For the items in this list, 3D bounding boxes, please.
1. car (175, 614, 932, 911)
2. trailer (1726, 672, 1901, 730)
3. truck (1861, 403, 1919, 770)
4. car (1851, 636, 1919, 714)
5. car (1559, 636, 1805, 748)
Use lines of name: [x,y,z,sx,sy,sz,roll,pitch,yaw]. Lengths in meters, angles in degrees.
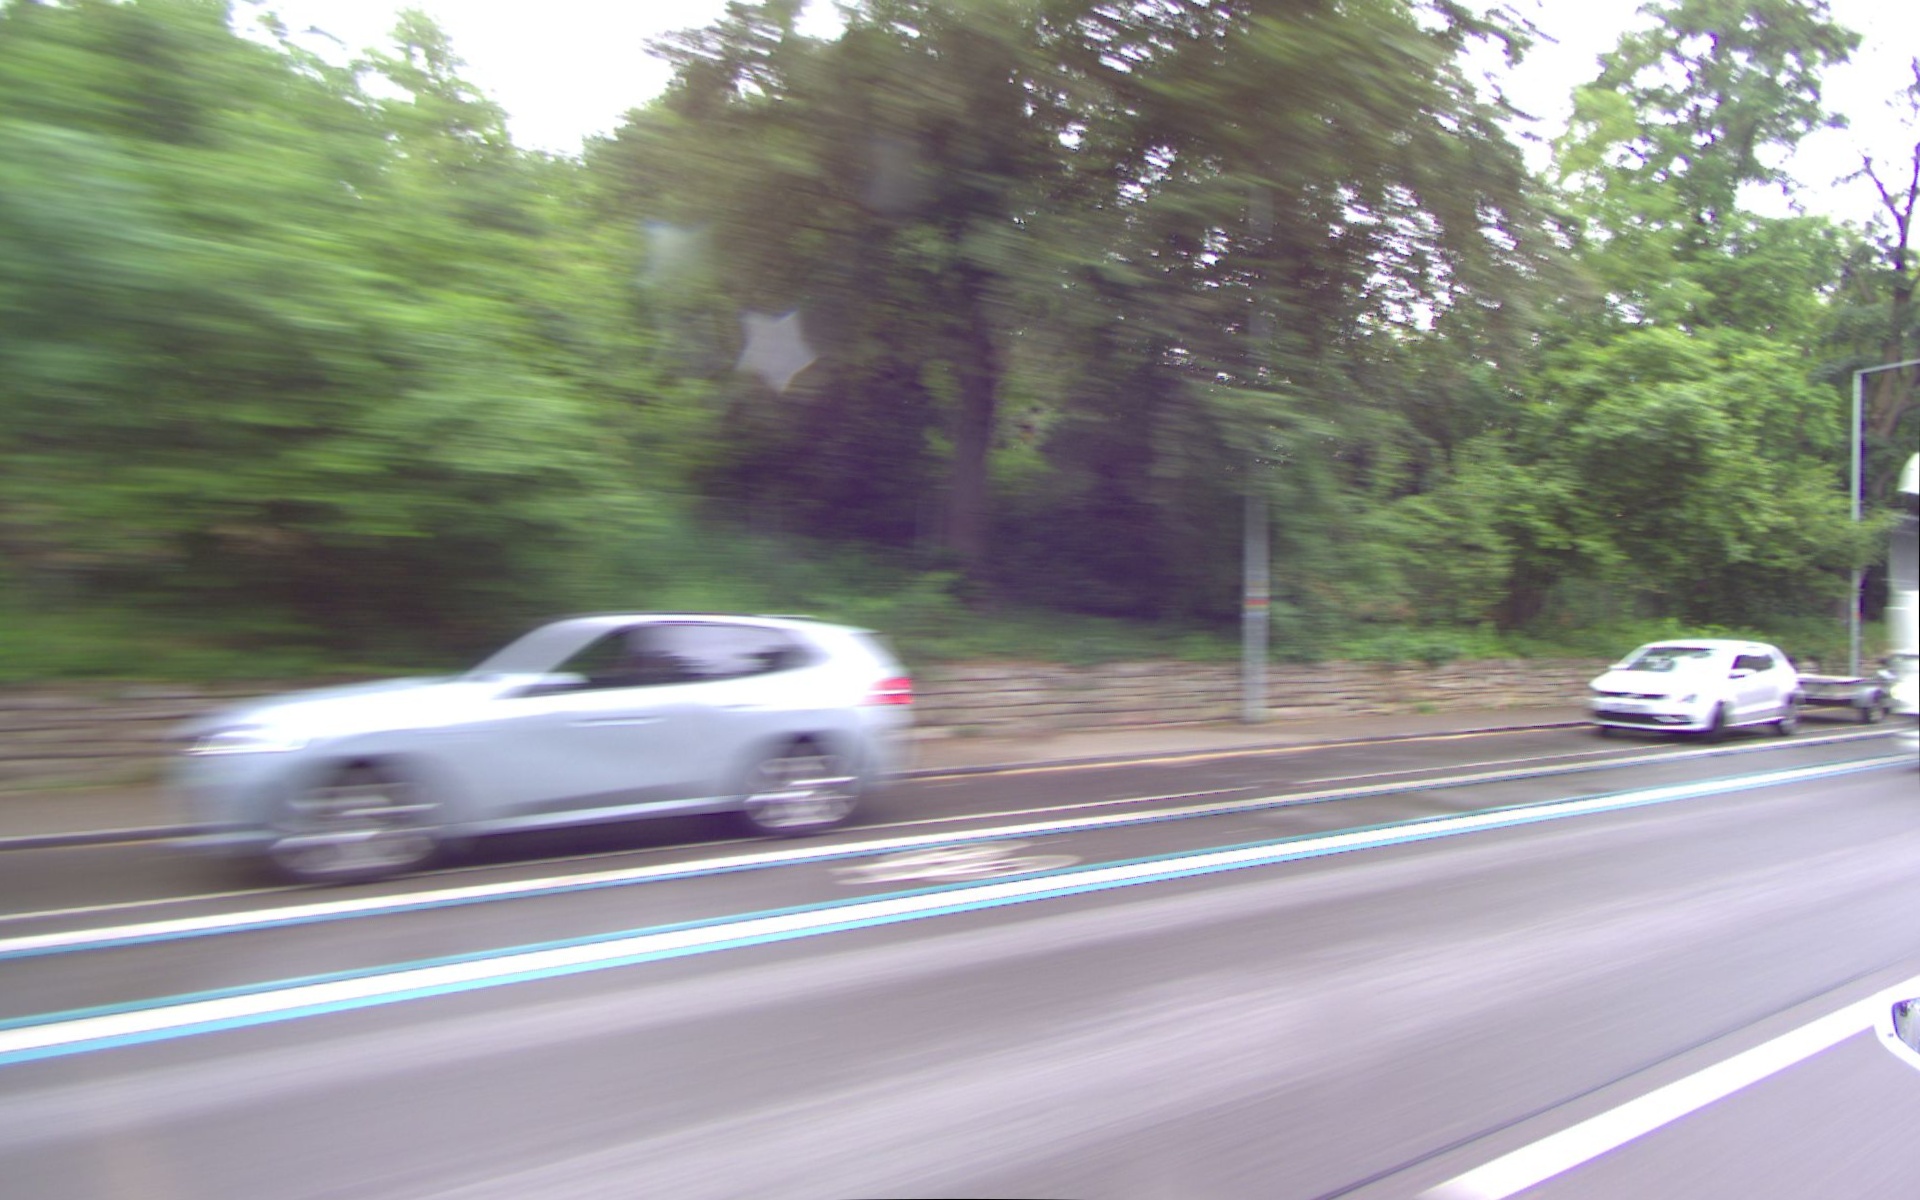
car: [-2.750,0.934,7.578,4.723,1.627,2.001,1,-1,-30]
trailer: [15.671,1.804,18.411,3.268,0.830,1.535,1,-1,-32]
truck: [13.228,-0.148,11.696,4.856,4.099,2.508,1,-3,-29]
car: [20.397,1.517,20.885,3.997,1.496,1.821,1,-1,-33]
car: [11.318,1.335,15.688,3.938,1.502,1.779,1,-2,-32]
